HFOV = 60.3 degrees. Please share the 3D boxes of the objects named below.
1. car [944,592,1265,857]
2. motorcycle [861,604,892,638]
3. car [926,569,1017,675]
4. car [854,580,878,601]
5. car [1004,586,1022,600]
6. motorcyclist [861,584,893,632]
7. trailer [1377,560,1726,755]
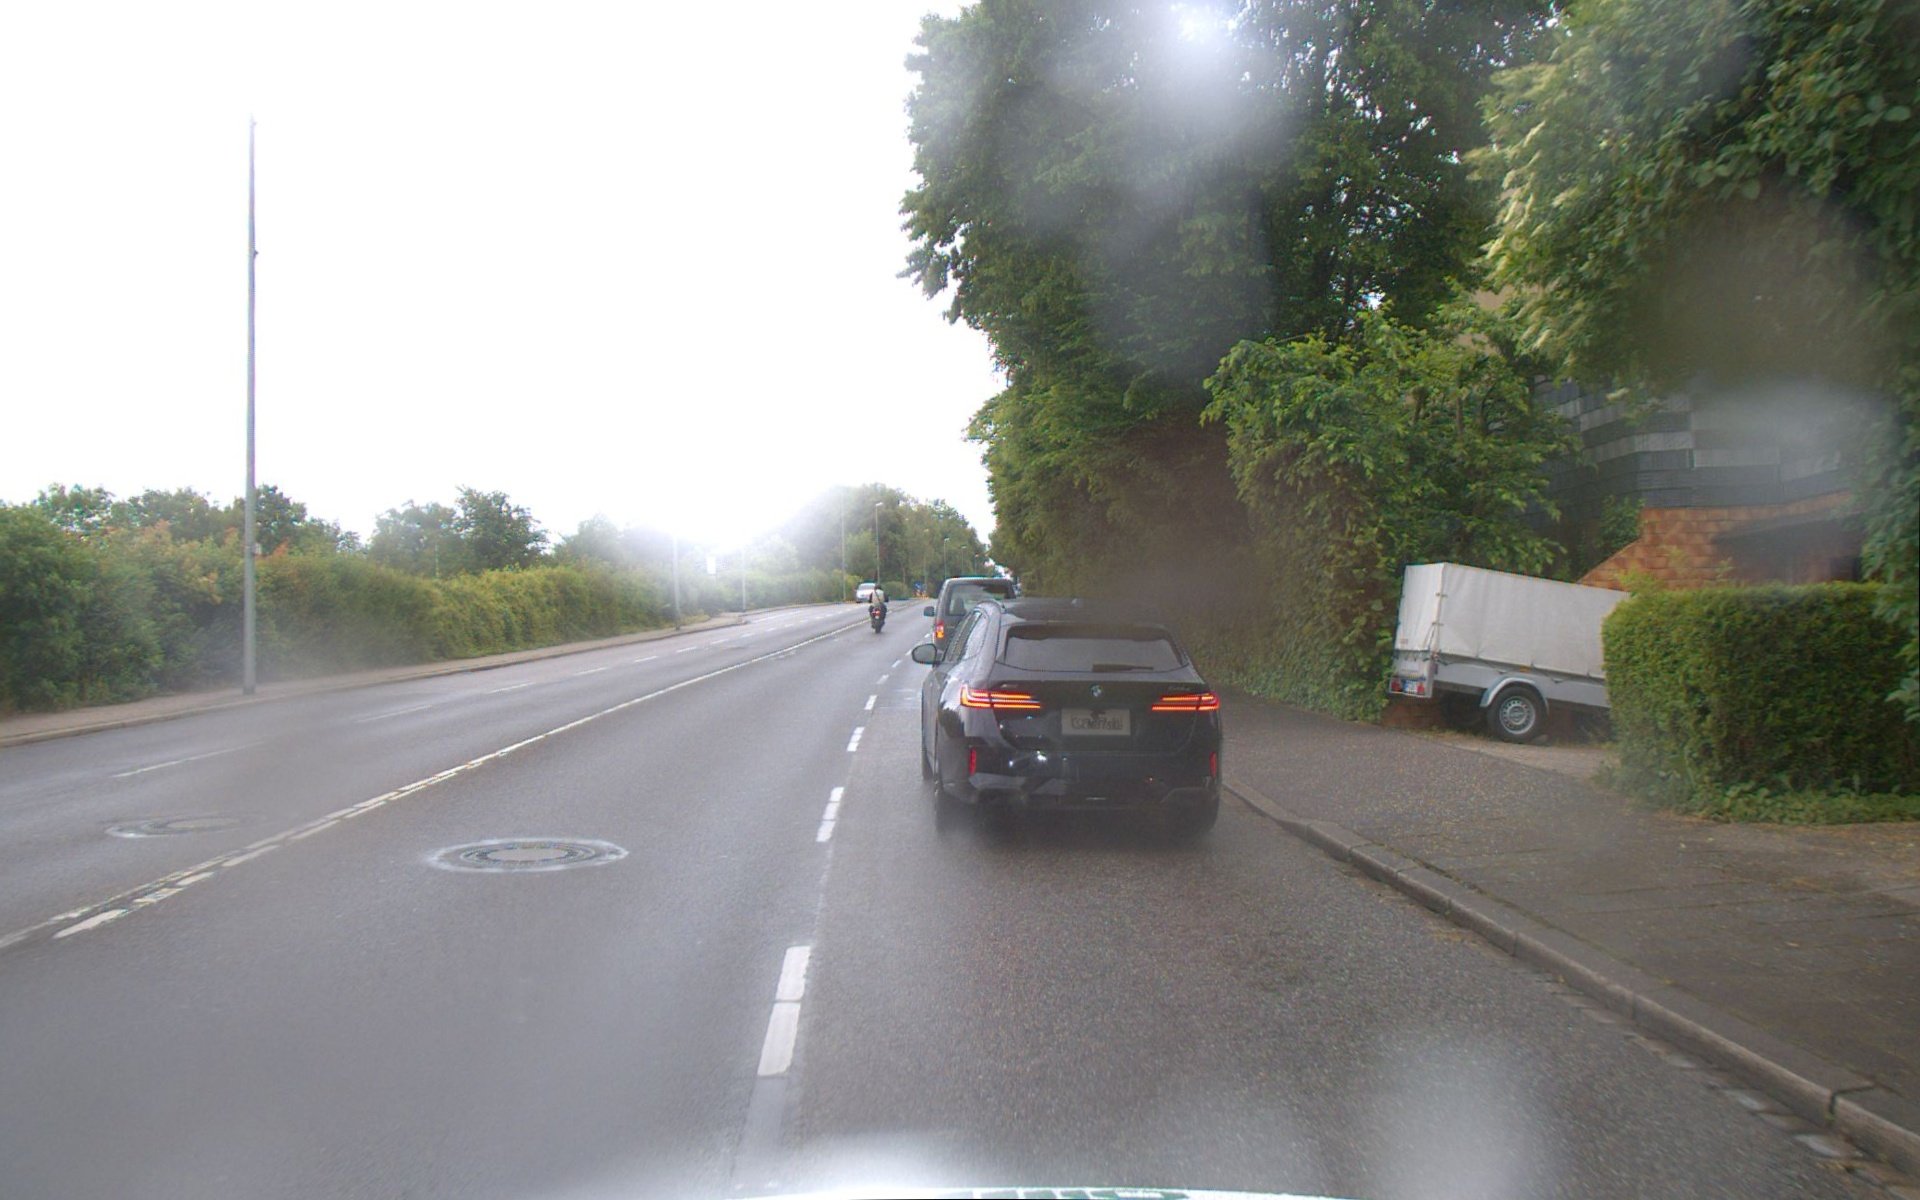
[{"bbox_3d":[0.917,0.722,11.694,1.858,1.515,4.001,1,0,2],"label":"car"},{"bbox_3d":[-2.820,0.705,56.320,0.858,1.144,2.741,1,0,1],"label":"motorcycle"},{"bbox_3d":[0.255,0.377,32.105,1.595,1.865,4.001,-2,0,1],"label":"car"},{"bbox_3d":[-7.643,-0.750,135.034,1.720,1.595,4.000,-3,0,-1],"label":"car"},{"bbox_3d":[6.107,-0.812,189.045,1.895,1.467,4.410,-2,0,4],"label":"car"},{"bbox_3d":[-2.820,0.264,56.143,1.018,1.595,0.855,1,-1,1],"label":"motorcyclist"},{"bbox_3d":[6.048,0.575,17.096,2.922,1.597,1.488,7,-1,-3],"label":"trailer"}]
